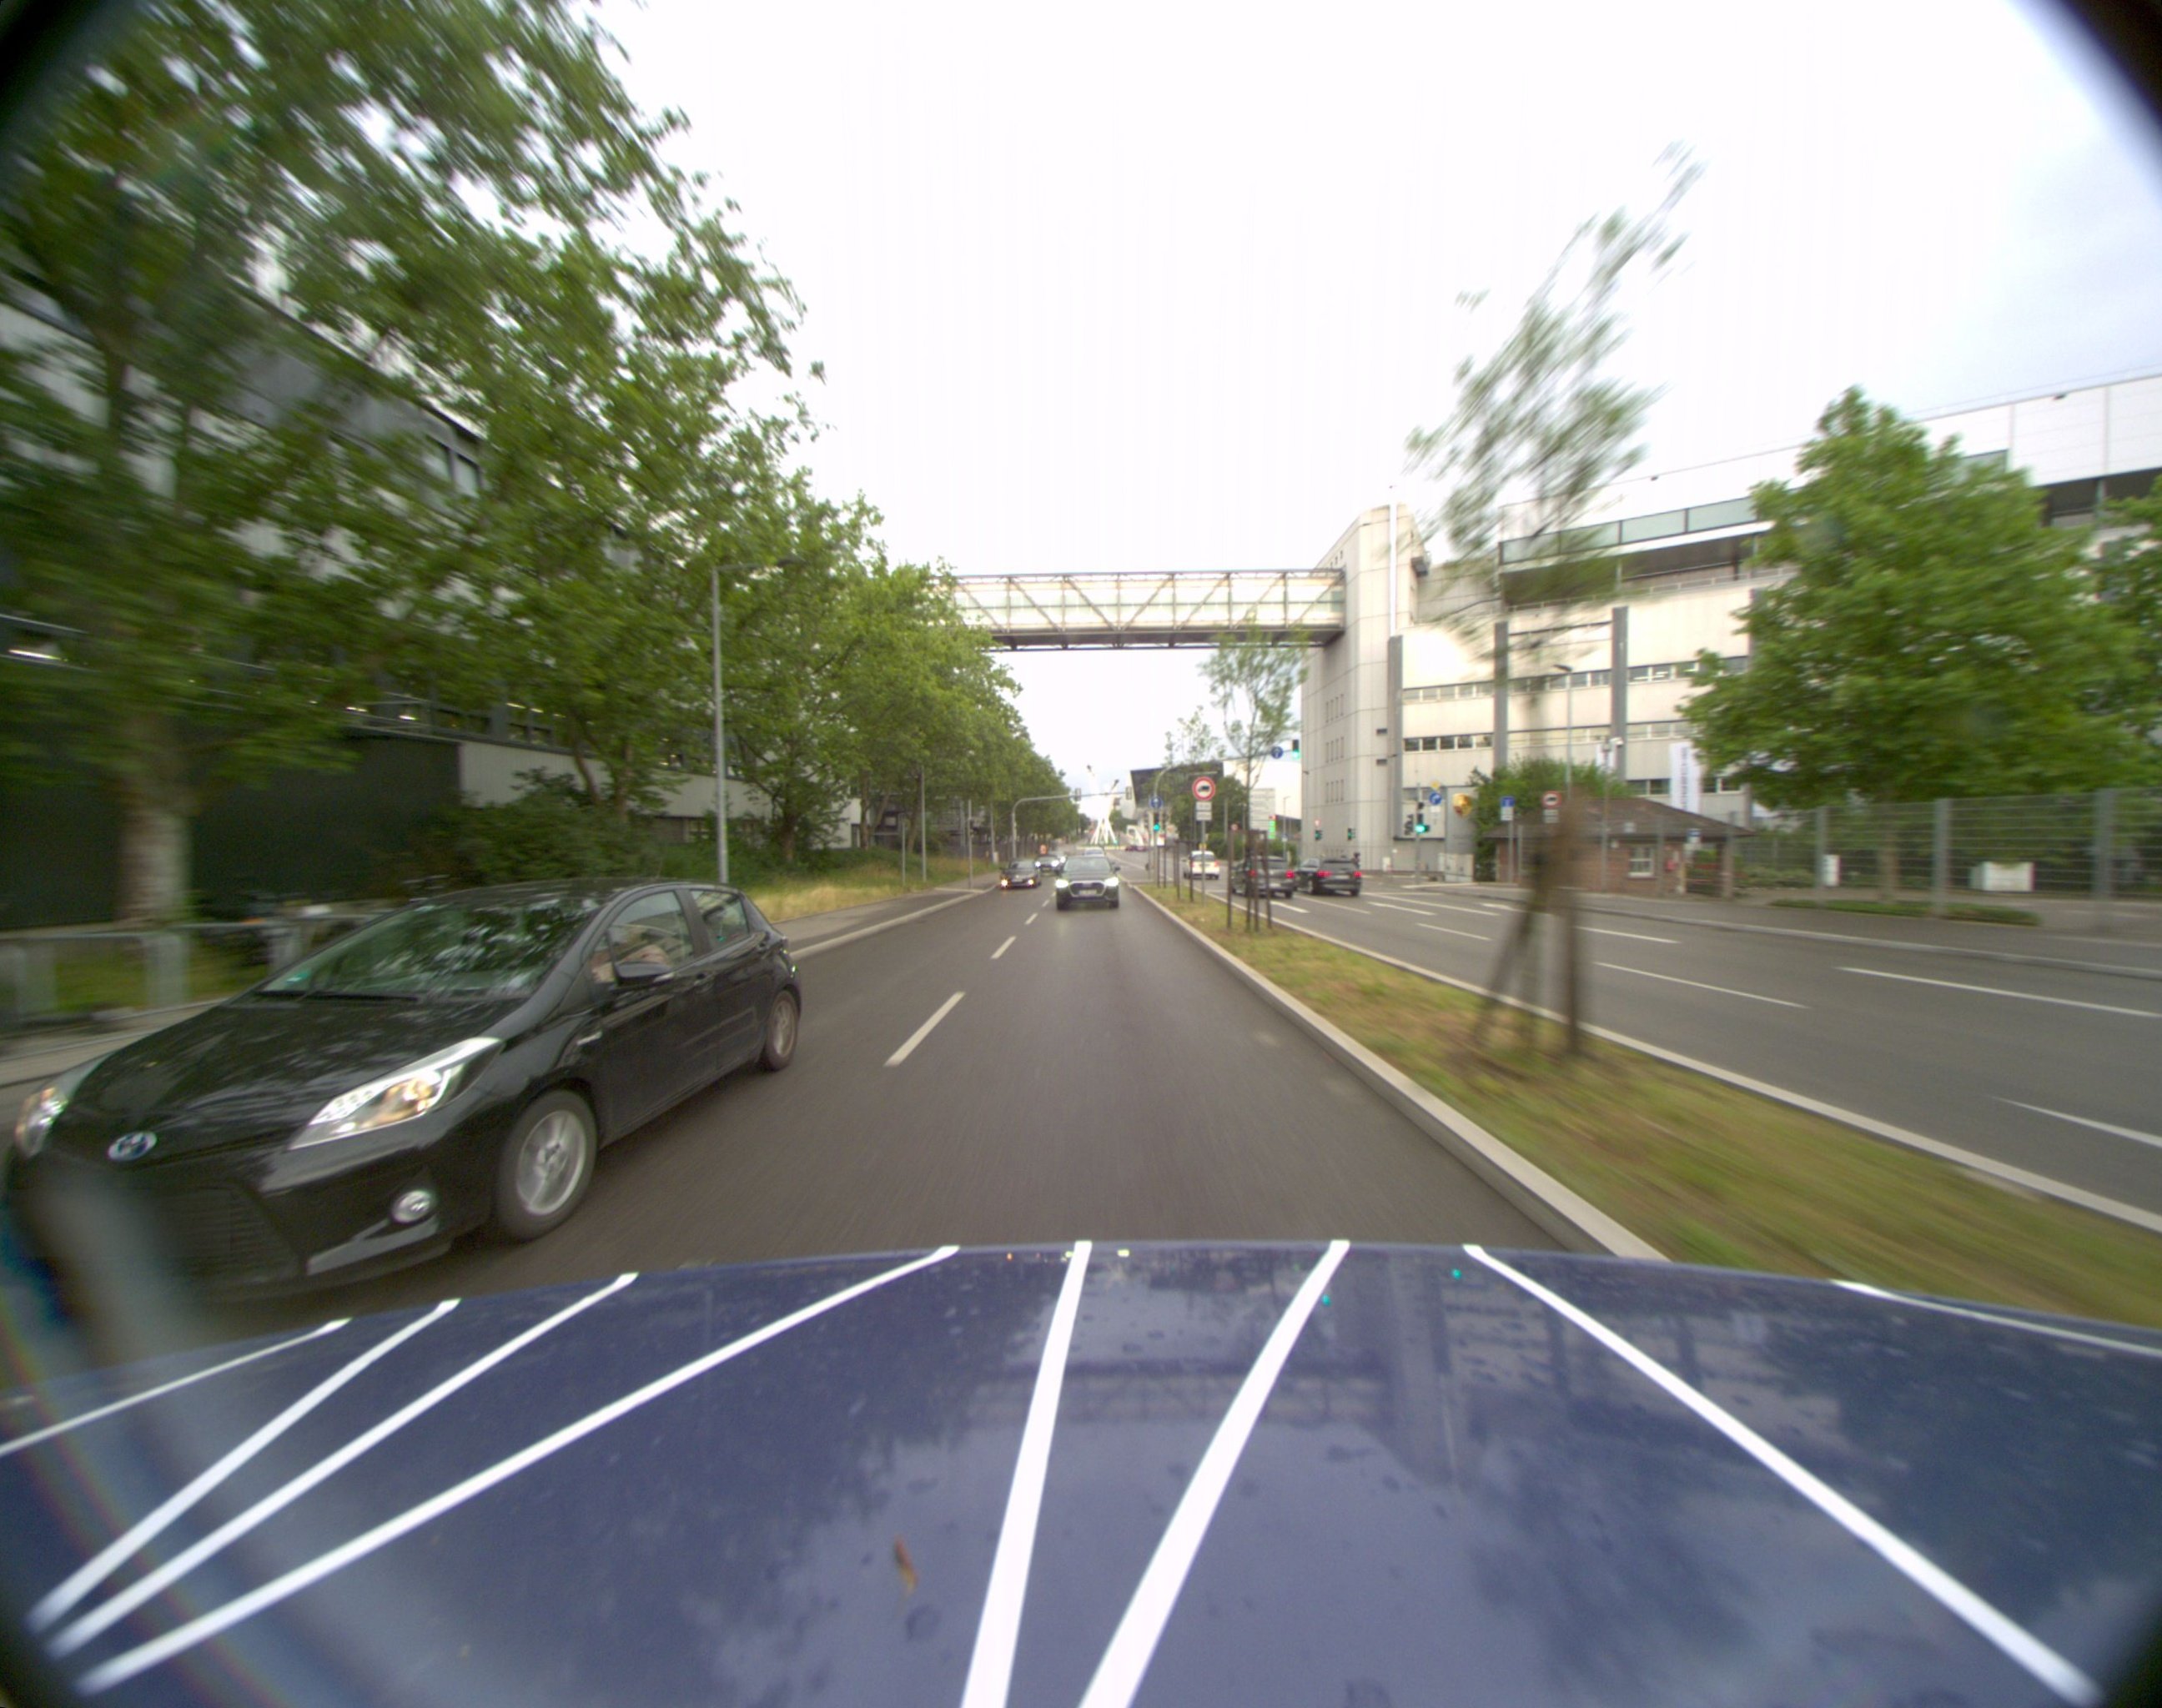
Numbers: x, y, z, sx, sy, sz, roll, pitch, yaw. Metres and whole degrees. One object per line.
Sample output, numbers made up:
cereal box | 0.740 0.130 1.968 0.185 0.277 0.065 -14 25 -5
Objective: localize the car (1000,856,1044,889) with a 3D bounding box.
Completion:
car | -2.873 0.872 37.881 1.749 1.422 4.516 -1 1 1

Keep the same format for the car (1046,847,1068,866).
car | -2.156 0.200 69.412 1.820 1.571 4.331 -1 1 1

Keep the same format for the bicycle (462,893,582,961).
bicycle | -8.561 1.115 11.659 1.555 0.999 0.393 0 1 0

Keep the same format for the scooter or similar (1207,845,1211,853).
scooter or similar | 17.953 -0.766 106.607 0.394 1.123 1.569 0 1 2

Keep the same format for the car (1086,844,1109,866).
car | 1.536 0.072 70.422 2.035 1.920 4.331 -1 1 1

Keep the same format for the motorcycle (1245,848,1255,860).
motorcycle | 18.060 -0.020 81.173 0.626 1.208 1.968 0 1 2

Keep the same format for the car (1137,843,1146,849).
car | 15.141 -2.085 191.207 2.036 1.580 4.485 0 1 2

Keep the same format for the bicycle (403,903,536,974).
bicycle | -8.628 1.191 10.739 1.555 0.953 0.393 0 1 0

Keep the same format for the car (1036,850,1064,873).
car | -2.236 0.525 55.592 1.825 1.581 4.331 -1 1 1

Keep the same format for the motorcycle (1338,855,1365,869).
motorcycle | 21.478 0.616 60.392 0.627 1.021 2.166 0 1 -26

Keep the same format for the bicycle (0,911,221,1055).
bicycle | -8.637 1.086 6.544 1.793 1.160 0.447 0 1 -5

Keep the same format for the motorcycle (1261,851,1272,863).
motorcycle | 17.910 0.300 73.400 0.569 1.156 2.038 0 1 -1

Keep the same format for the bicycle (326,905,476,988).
bicycle | -8.640 1.171 9.678 1.555 0.999 0.393 0 1 0

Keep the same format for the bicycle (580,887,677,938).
bicycle | -8.602 1.113 14.464 1.611 0.934 0.387 0 1 0

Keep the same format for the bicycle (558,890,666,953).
bicycle | -7.800 1.120 12.653 1.555 0.999 0.393 0 1 0

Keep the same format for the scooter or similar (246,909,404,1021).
scooter or similar | -7.623 1.108 7.682 1.216 1.085 0.312 0 1 -4

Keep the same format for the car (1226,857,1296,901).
car | 6.371 0.851 27.294 1.581 1.396 4.111 0 1 1

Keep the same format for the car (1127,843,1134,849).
car | 12.554 -2.014 192.899 1.776 1.580 4.485 0 1 2

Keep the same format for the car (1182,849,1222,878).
car | 7.052 0.507 44.687 1.776 1.580 4.485 0 1 2

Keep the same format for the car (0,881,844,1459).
car | -3.064 1.035 4.568 1.749 1.461 4.640 -1 1 1

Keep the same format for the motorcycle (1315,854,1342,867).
motorcycle | 20.292 0.542 62.403 0.628 1.021 2.165 -1 1 -34

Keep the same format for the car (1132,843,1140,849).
car | 14.446 -2.184 199.737 1.776 1.580 4.485 0 1 2

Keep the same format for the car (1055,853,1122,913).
car | 0.246 0.788 23.690 1.820 1.536 5.607 -1 1 1

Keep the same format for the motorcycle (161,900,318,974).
motorcycle | -12.138 1.190 10.991 1.611 0.996 0.577 0 1 0

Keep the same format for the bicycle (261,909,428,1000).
bicycle | -8.567 1.160 8.856 1.555 0.999 0.393 0 1 0

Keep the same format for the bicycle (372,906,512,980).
bicycle | -8.665 1.197 10.324 1.555 0.953 0.393 0 1 0

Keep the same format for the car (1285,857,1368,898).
car | 9.398 0.846 29.430 1.777 1.396 4.614 0 1 1

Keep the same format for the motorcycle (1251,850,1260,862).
motorcycle | 17.993 0.198 78.537 0.626 1.260 2.171 -1 1 6
